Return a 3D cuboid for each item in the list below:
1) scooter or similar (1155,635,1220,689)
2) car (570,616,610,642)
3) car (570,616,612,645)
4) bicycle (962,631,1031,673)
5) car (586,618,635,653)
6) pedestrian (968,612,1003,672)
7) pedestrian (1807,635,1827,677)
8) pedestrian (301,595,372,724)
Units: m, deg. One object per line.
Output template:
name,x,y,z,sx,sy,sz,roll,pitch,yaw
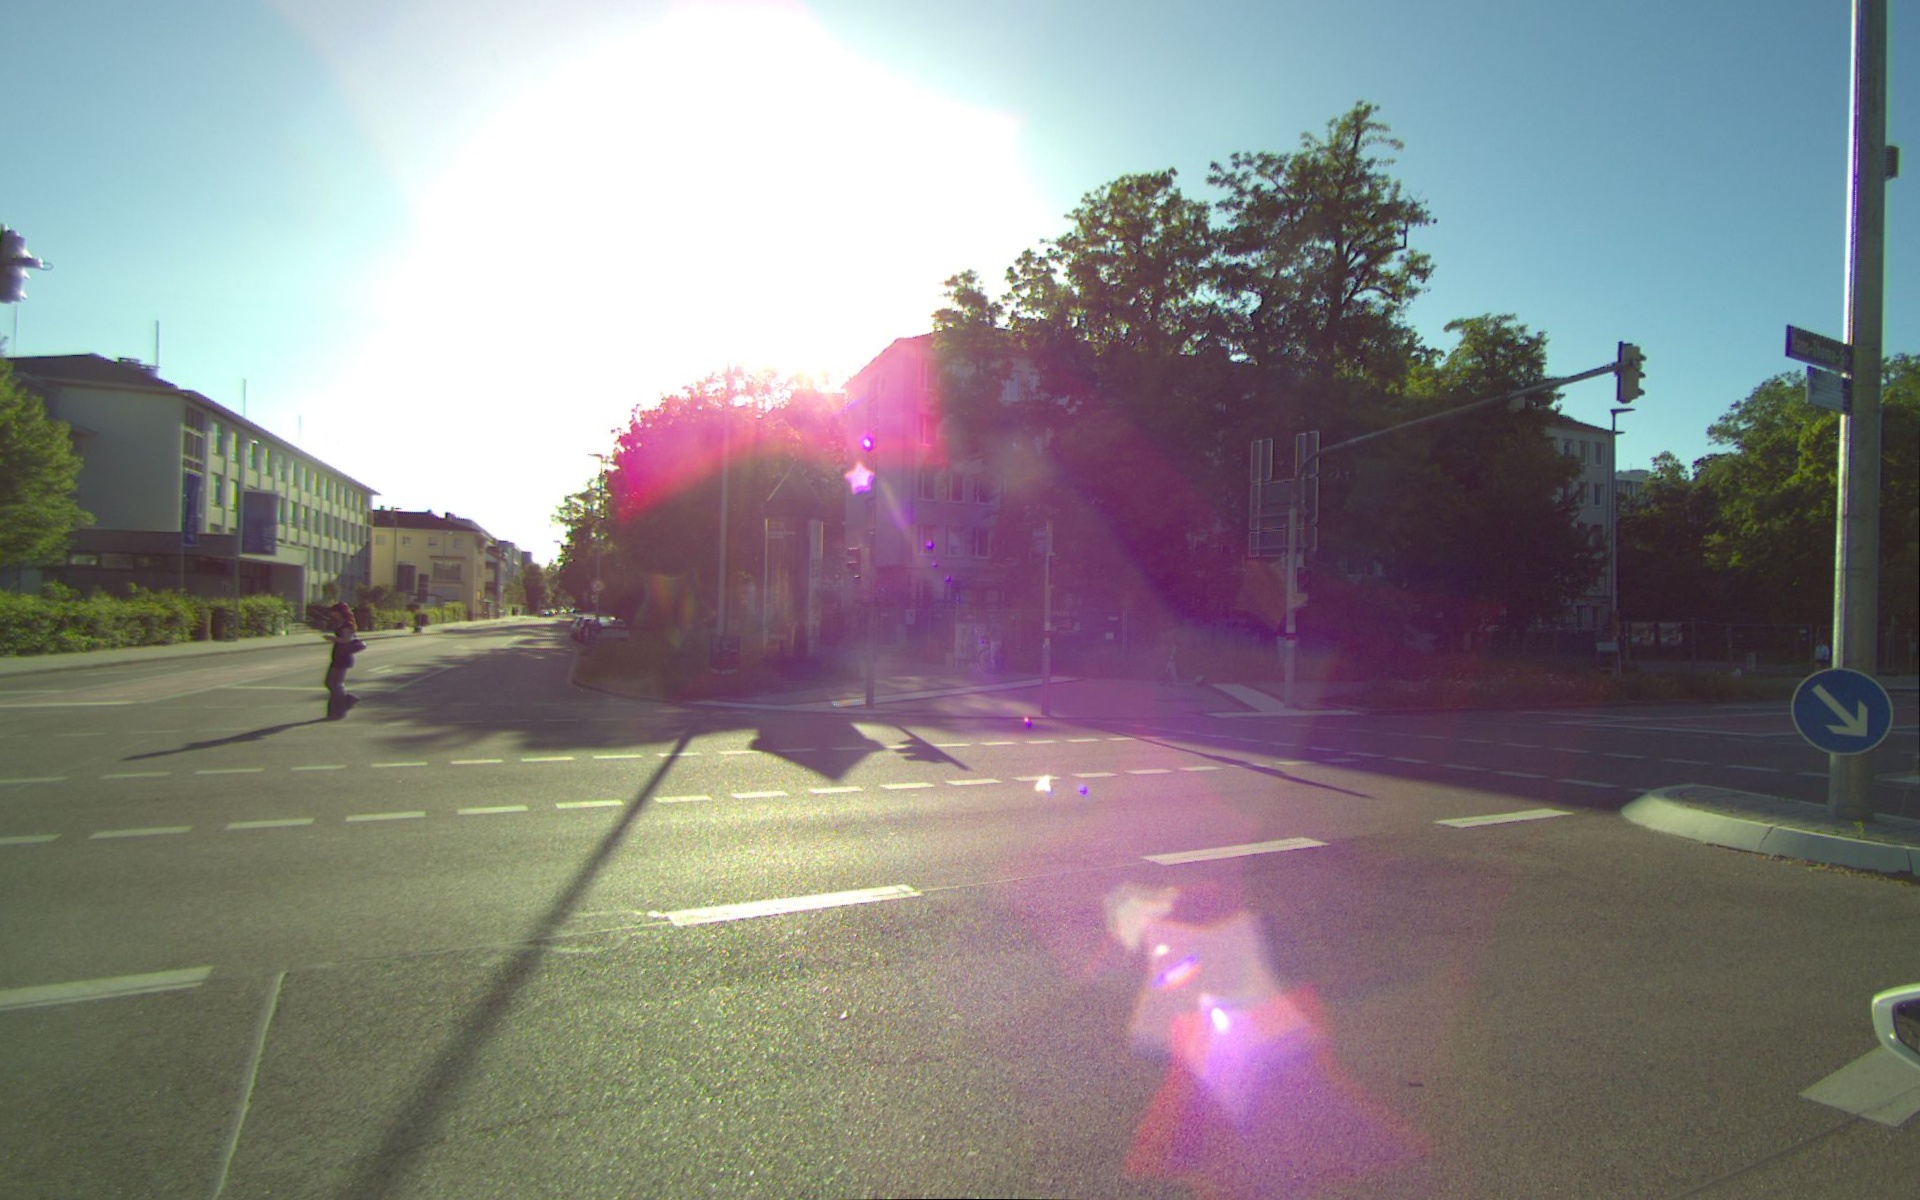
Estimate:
scooter or similar,5.714,1.550,25.310,1.466,1.311,0.695,1,-1,0
car,-23.022,1.772,62.473,2.204,1.560,4.238,1,-1,-21
car,-21.252,1.754,57.780,2.204,1.560,4.238,1,-1,-21
bicycle,1.046,1.521,29.696,0.967,1.151,2.563,2,-1,-24
car,-16.787,1.655,48.097,2.038,1.560,4.238,1,-1,-21
pedestrian,0.737,1.223,29.309,0.634,1.718,0.974,1,-1,-25
pedestrian,32.063,2.097,37.578,0.565,1.554,0.448,2,-1,-34
pedestrian,-9.181,0.863,14.814,0.716,1.840,0.742,1,-1,-21
